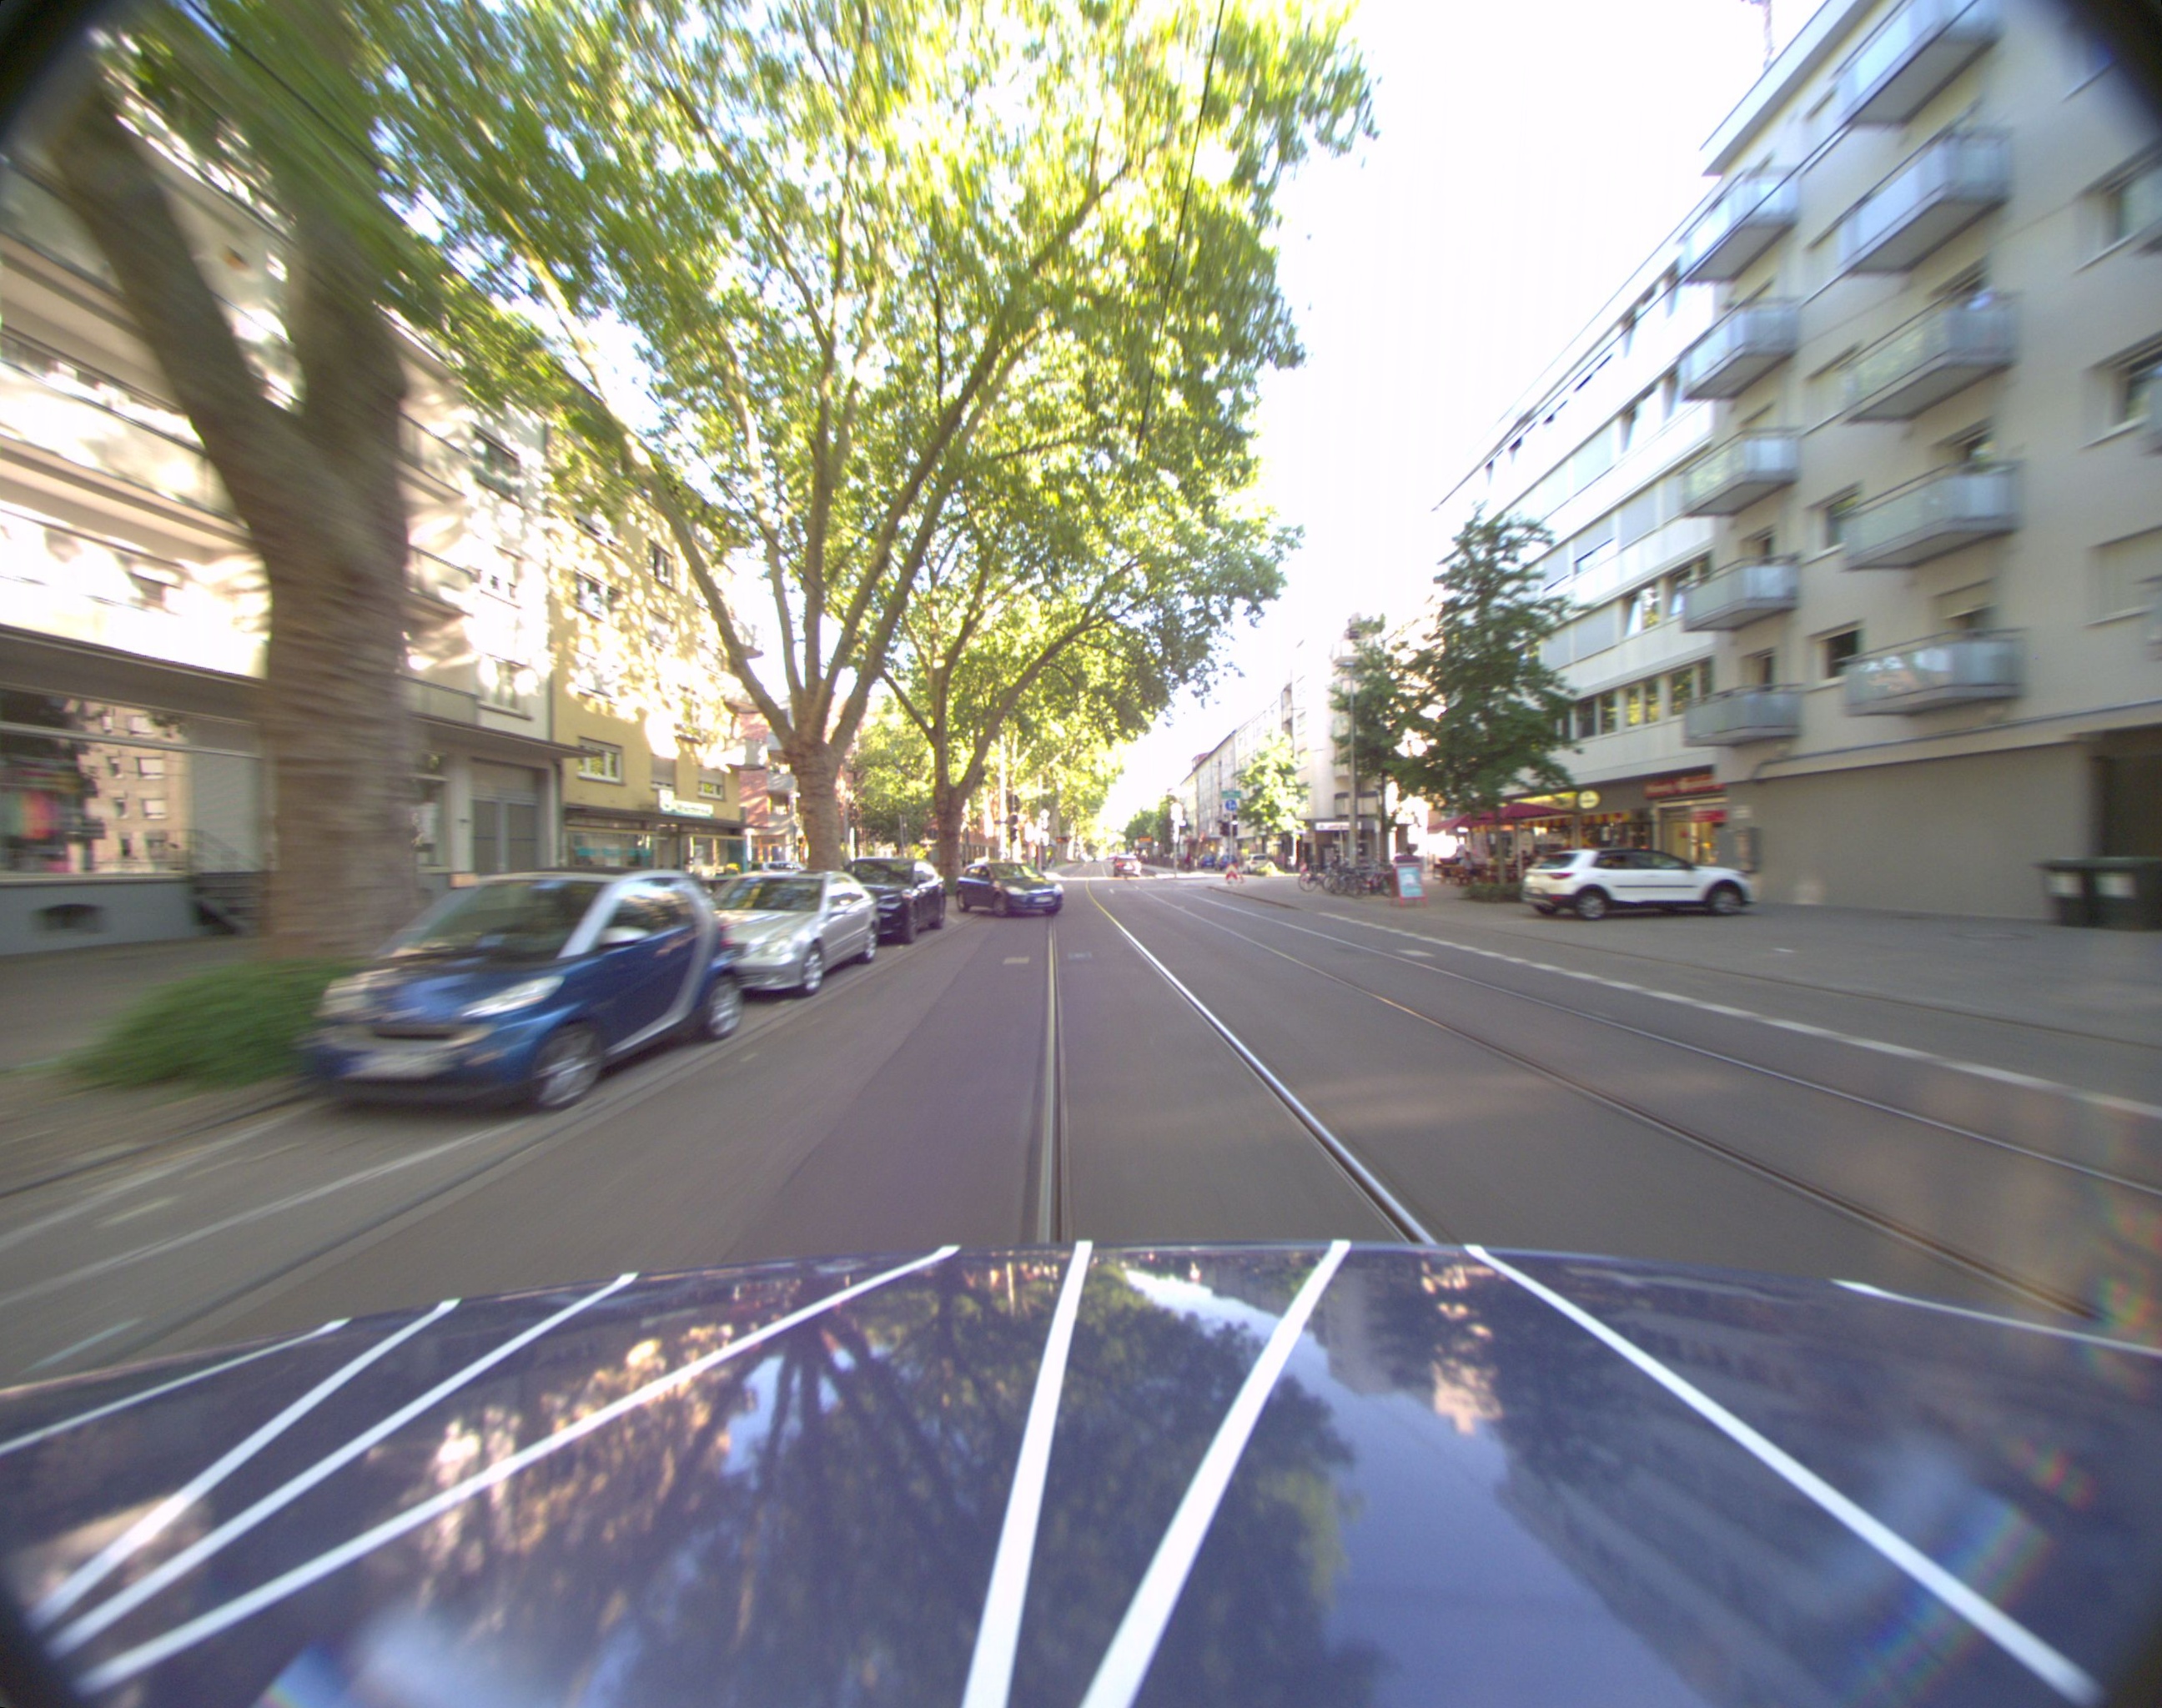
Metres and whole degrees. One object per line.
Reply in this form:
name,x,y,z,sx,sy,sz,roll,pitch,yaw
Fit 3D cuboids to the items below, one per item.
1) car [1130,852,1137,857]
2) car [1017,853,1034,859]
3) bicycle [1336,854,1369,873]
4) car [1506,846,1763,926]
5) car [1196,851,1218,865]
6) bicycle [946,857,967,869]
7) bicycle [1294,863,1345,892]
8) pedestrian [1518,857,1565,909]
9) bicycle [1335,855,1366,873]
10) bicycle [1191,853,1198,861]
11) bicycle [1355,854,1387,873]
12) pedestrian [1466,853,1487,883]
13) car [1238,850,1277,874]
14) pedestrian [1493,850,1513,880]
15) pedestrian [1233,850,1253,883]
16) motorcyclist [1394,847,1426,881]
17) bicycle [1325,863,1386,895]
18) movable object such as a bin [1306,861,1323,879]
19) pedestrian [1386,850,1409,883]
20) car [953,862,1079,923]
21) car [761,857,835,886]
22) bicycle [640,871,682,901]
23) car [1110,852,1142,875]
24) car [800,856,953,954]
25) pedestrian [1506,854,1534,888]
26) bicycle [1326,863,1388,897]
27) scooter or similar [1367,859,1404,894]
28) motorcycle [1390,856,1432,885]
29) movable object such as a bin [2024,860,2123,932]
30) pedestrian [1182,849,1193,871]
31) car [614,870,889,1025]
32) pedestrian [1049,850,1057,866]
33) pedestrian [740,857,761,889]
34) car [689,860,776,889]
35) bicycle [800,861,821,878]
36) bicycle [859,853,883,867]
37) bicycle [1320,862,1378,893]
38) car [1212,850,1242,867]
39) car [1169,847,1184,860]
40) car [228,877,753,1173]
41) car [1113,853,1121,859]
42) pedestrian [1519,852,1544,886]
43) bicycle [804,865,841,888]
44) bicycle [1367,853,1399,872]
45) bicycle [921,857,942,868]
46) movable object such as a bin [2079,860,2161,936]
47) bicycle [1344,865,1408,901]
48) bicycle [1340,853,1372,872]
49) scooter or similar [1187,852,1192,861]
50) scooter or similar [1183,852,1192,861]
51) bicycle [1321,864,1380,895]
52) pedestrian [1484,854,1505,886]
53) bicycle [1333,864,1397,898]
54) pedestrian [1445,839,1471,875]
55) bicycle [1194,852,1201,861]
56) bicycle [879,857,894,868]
car,14.759,0.127,213.195,1.998,1.521,3.679,-1,0,4
car,-13.158,0.479,180.222,3.674,1.521,2.000,-1,0,2
bicycle,17.045,0.590,47.796,1.862,1.150,0.572,-1,1,6
car,11.543,0.643,16.095,4.021,1.467,1.852,-2,1,4
car,13.241,0.369,79.988,1.799,1.455,4.282,0,0,1
bicycle,-12.521,0.870,76.567,2.034,1.150,0.572,1,1,11
bicycle,8.961,0.879,28.603,1.696,1.001,0.657,-2,1,-4
pedestrian,11.786,0.733,19.461,0.714,1.290,0.747,-1,1,-13
bicycle,17.324,0.631,48.845,2.040,1.150,0.571,-1,1,-21
bicycle,15.258,0.401,102.035,0.572,1.150,2.037,-1,0,-4
bicycle,17.827,0.563,46.703,1.785,1.150,0.573,-1,1,32
pedestrian,15.918,0.576,30.613,0.513,1.191,0.563,-1,1,-15
car,13.087,0.581,56.654,1.882,1.641,4.358,-3,0,0
pedestrian,16.712,0.439,30.101,0.565,1.191,0.512,-1,1,-34
pedestrian,8.204,0.620,38.487,0.759,1.661,0.768,-1,1,-4
motorcyclist,13.821,0.412,31.938,0.876,1.432,1.016,-1,1,-3
bicycle,9.398,0.859,26.027,1.834,1.001,0.657,-2,1,-4
movable object such as a bin,12.117,0.833,39.451,0.541,0.927,0.649,-1,1,-16
pedestrian,15.192,0.601,36.460,0.727,1.547,0.768,-1,1,-4
car,-1.908,0.971,20.955,1.873,1.429,4.216,0,0,-30
car,-17.581,1.077,47.255,3.871,1.683,1.866,-1,0,1
bicycle,-14.806,1.118,26.841,0.572,0.991,1.780,1,0,-3
car,3.161,0.666,53.721,1.876,1.580,4.146,-1,-1,-2
car,-3.933,0.896,15.519,1.862,1.594,4.781,0,1,0
pedestrian,15.919,0.617,27.543,0.603,1.191,0.690,-1,1,-34
bicycle,9.328,0.865,25.709,1.834,1.058,0.657,-2,1,-4
scooter or similar,10.670,0.788,26.651,1.082,1.169,0.498,-2,1,0
motorcycle,13.836,0.667,31.888,0.851,1.157,1.914,-1,0,-3
movable object such as a bin,15.147,0.627,11.609,0.679,1.049,0.622,-1,1,3
pedestrian,7.739,0.424,55.166,0.655,1.576,0.772,-1,1,2
car,-3.984,1.019,10.173,1.821,1.427,4.601,0,1,-2
pedestrian,-2.779,0.396,76.489,0.768,1.650,0.917,-1,1,-4
pedestrian,-16.254,0.938,37.332,0.701,1.530,0.692,0,1,42
car,-18.934,1.128,41.397,3.871,1.542,1.867,-1,-2,1
bicycle,-18.696,1.044,52.529,0.637,1.150,1.982,1,0,4
bicycle,-17.388,0.484,62.987,1.930,1.150,0.573,1,1,17
bicycle,9.546,0.838,27.111,1.834,1.001,0.657,-2,1,-4
car,13.179,0.369,68.757,1.961,1.535,4.389,0,0,1
car,14.236,-0.060,113.623,1.808,1.923,4.049,-1,0,0
car,-3.954,1.001,5.721,1.567,1.510,2.910,0,1,3
car,8.773,0.475,187.032,1.766,1.579,4.000,-1,0,0
pedestrian,15.811,0.512,26.677,0.514,1.191,0.562,-1,1,-28
bicycle,-13.404,1.167,39.397,1.799,1.150,0.744,1,1,-20
bicycle,18.731,0.540,47.194,1.786,1.150,0.572,-1,1,12
bicycle,-15.052,0.852,76.557,2.035,1.150,0.572,1,1,7
movable object such as a bin,15.129,0.622,10.970,0.674,1.049,0.574,-1,1,3
bicycle,9.126,0.894,23.548,1.696,1.001,0.657,-2,1,-4
bicycle,16.941,0.549,46.802,1.785,1.150,0.573,-1,1,32
scooter or similar,14.827,0.328,103.987,0.446,1.167,1.274,-1,0,-4
scooter or similar,14.719,0.328,105.308,0.447,1.167,1.272,-1,1,-35
bicycle,9.446,0.894,26.673,1.834,1.001,0.657,-2,1,-4
pedestrian,15.748,0.615,28.928,0.512,1.191,0.564,-1,1,3
bicycle,9.276,0.875,24.889,1.834,1.001,0.657,-2,1,-4
pedestrian,17.601,0.145,35.463,0.769,1.650,0.748,-1,1,-18
bicycle,15.354,0.317,100.102,0.494,1.150,1.751,-1,0,-4
bicycle,-20.179,0.849,78.711,0.707,1.150,2.039,1,0,11
